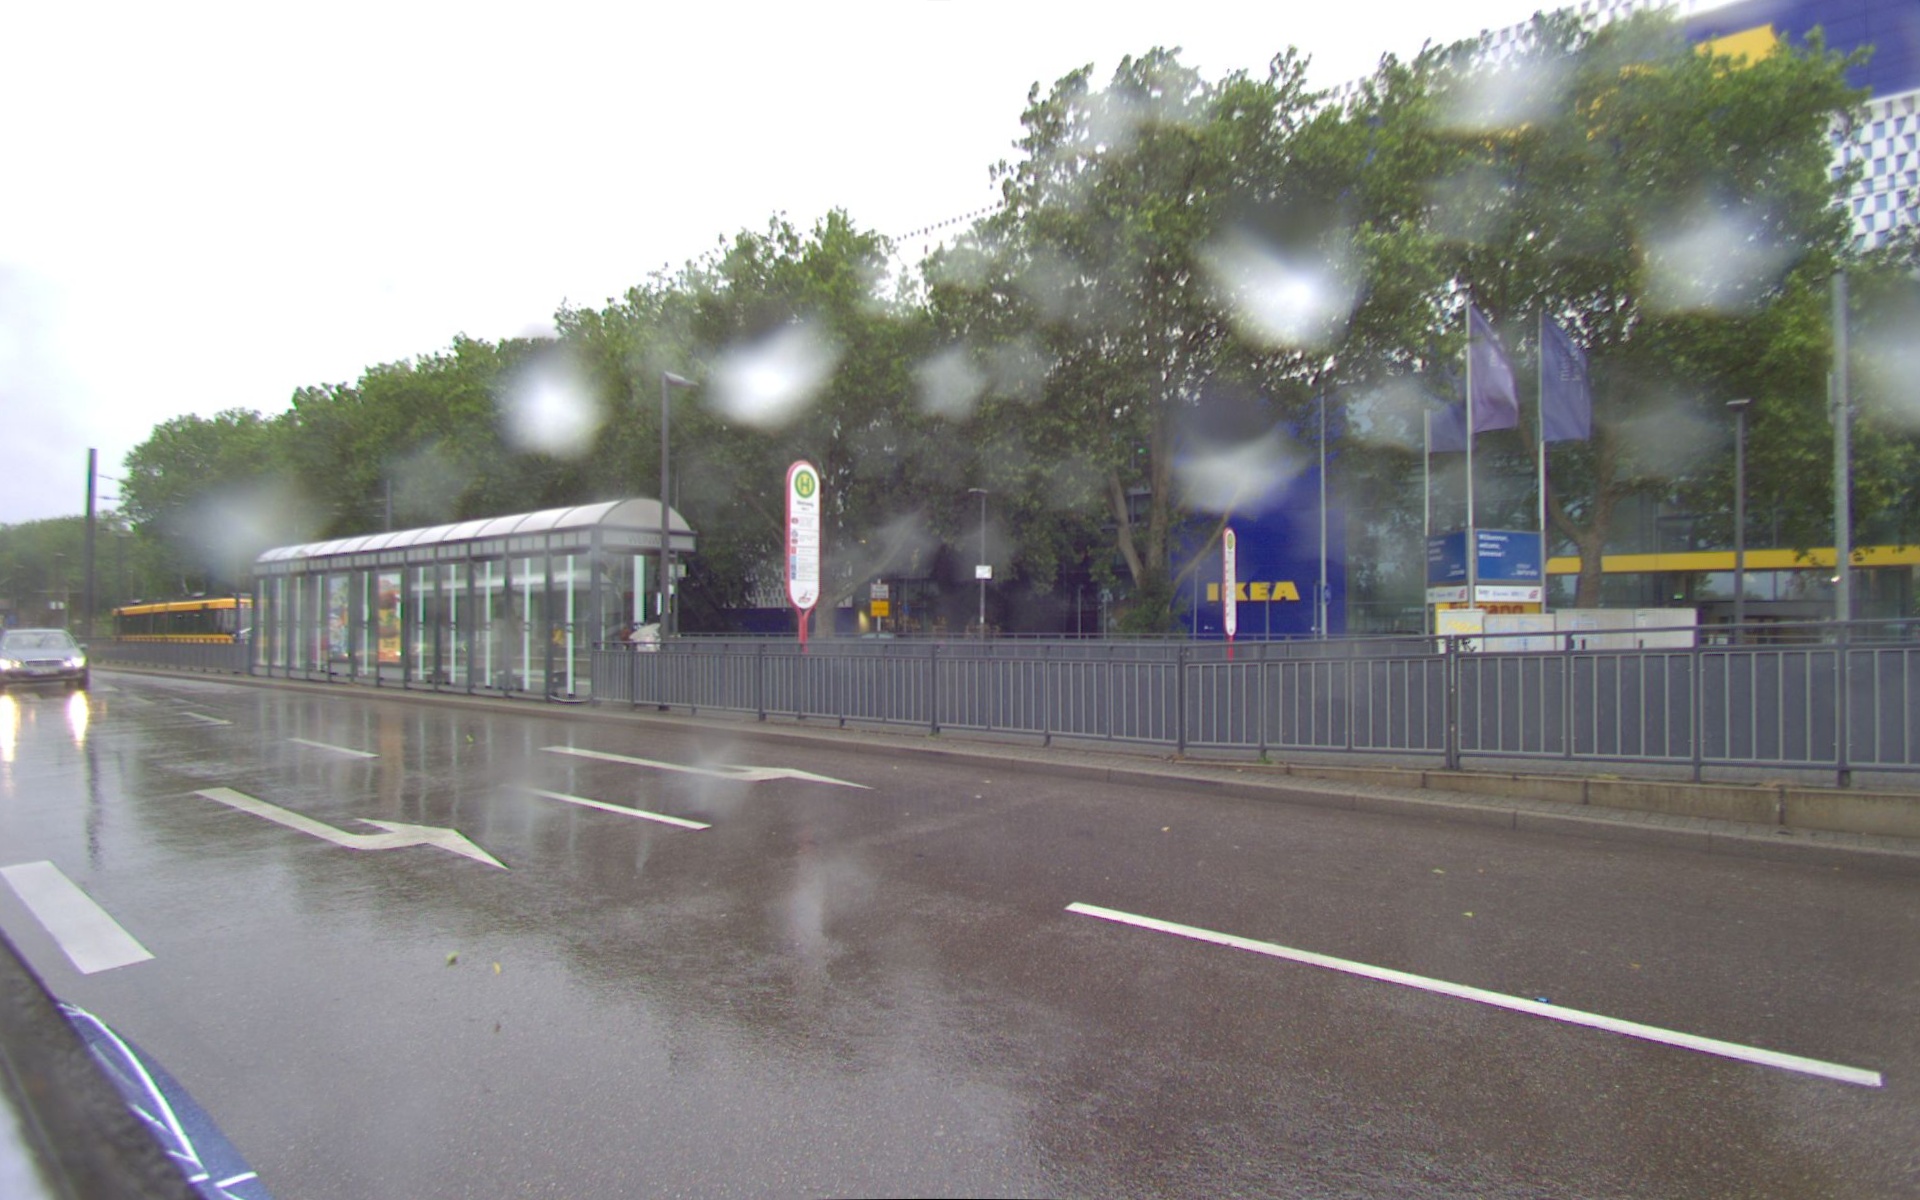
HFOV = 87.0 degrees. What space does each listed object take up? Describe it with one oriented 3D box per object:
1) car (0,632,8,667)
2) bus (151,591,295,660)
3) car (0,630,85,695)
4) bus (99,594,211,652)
[{"bbox_3d":[-44.380,2.238,45.662,4.596,1.512,1.752,-1,0,43],"label":"car"},{"bbox_3d":[-40.427,1.284,55.137,15.052,3.354,2.901,-1,0,40],"label":"bus"},{"bbox_3d":[-23.475,1.506,25.431,4.645,1.409,1.743,-1,0,43],"label":"car"},{"bbox_3d":[-51.923,1.406,65.011,15.054,3.354,2.901,-1,0,41],"label":"bus"}]
